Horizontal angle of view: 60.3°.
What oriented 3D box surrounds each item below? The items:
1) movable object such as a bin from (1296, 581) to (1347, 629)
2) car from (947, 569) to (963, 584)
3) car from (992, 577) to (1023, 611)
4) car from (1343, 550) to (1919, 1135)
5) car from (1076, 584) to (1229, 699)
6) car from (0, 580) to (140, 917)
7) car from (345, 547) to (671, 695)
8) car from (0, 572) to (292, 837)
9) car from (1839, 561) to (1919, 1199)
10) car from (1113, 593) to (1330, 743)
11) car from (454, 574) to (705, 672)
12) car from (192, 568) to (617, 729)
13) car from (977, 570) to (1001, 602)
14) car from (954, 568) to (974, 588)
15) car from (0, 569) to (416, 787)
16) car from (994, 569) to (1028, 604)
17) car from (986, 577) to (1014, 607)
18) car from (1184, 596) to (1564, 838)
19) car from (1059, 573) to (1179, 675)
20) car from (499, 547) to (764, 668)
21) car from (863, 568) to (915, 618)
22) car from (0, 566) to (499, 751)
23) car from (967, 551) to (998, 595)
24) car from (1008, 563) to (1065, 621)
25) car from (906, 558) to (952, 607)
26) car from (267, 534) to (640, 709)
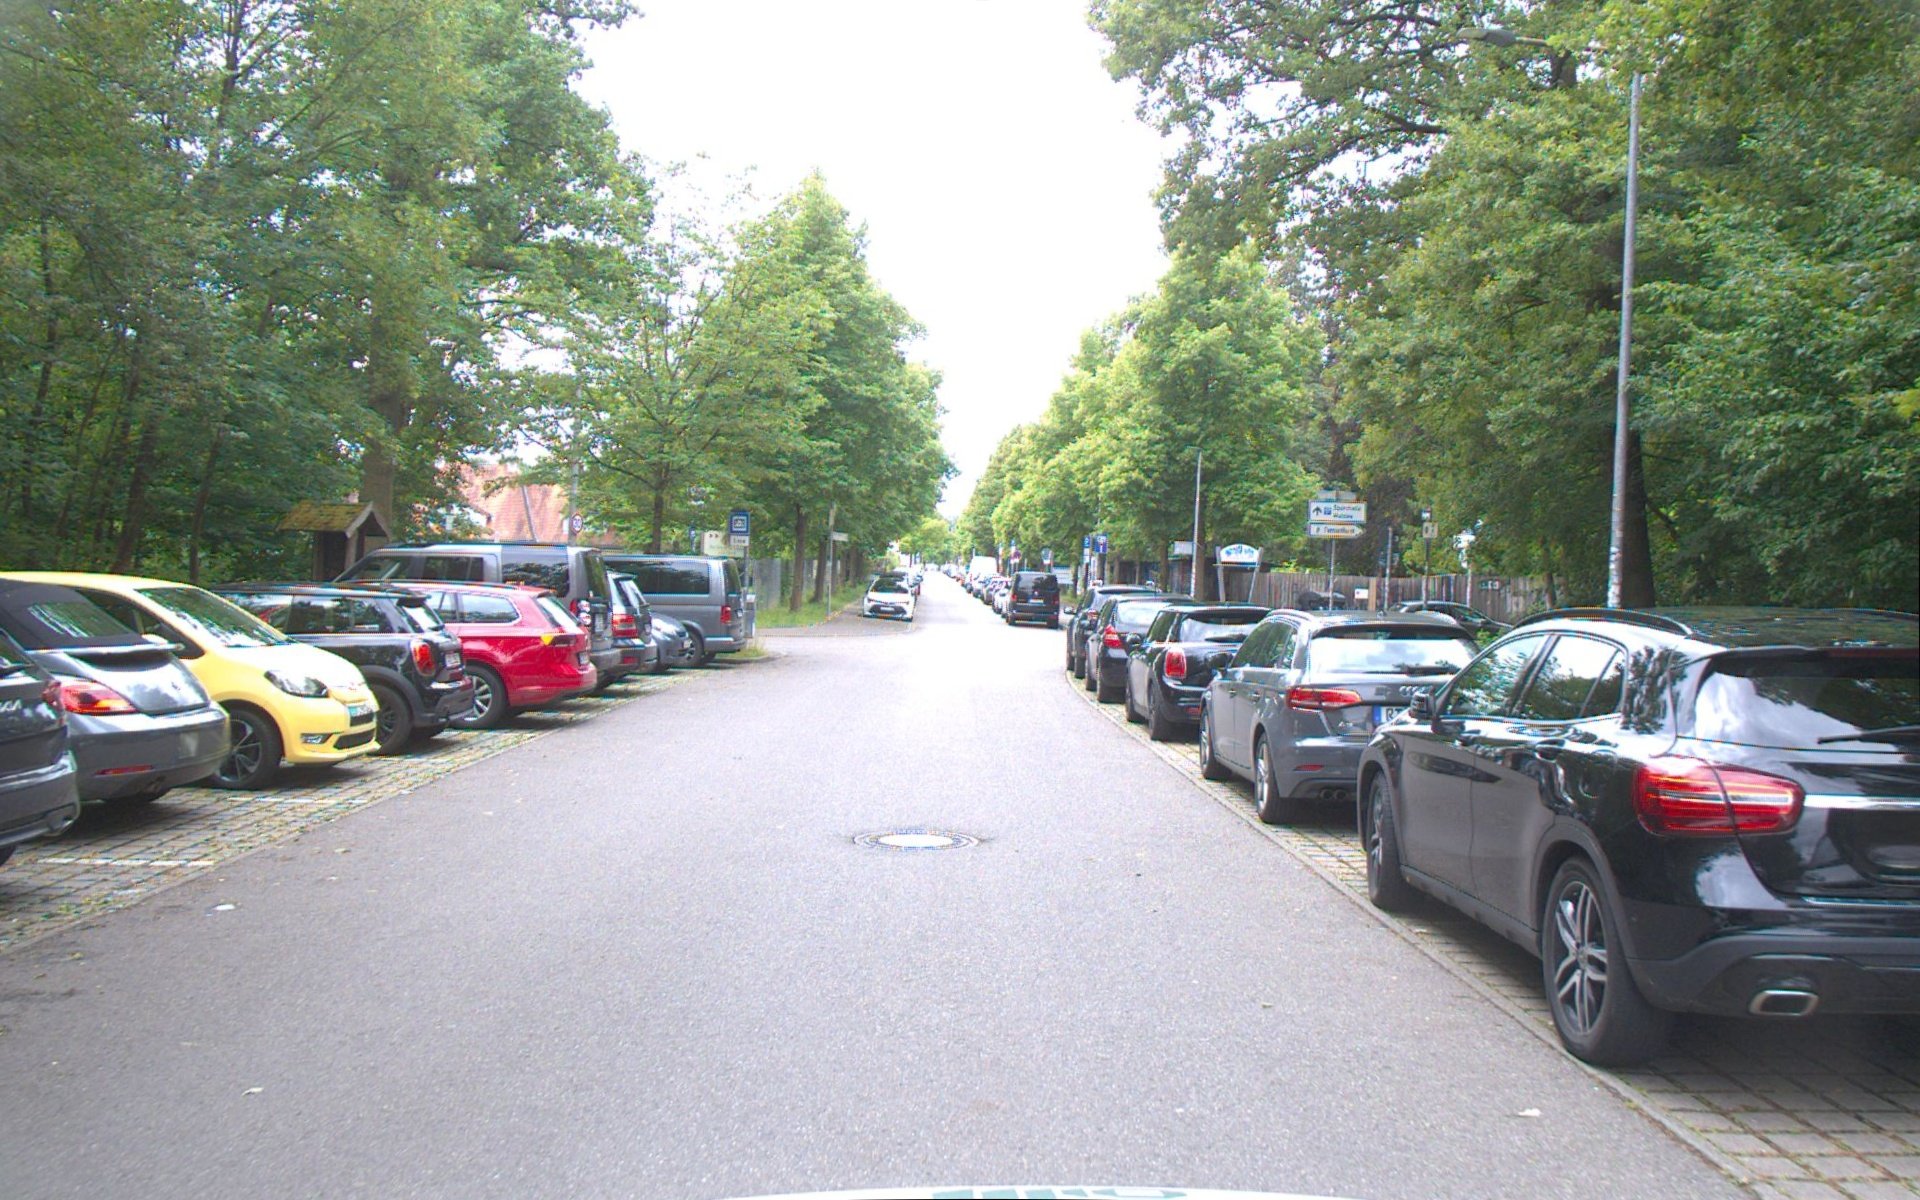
[{"bbox_3d":[11.458,0.152,52.382,1.276,1.468,1.061,2,-1,-45],"label":"movable object such as a bin"},{"bbox_3d":[-0.661,-3.022,213.113,1.859,1.736,4.065,1,0,3],"label":"car"},{"bbox_3d":[2.308,-0.312,80.828,1.439,1.558,3.189,1,1,0],"label":"car"},{"bbox_3d":[2.922,0.680,6.809,1.700,1.616,4.382,1,0,1],"label":"car"},{"bbox_3d":[2.747,0.548,24.409,1.701,1.521,4.233,1,0,-1],"label":"car"},{"bbox_3d":[-6.171,0.595,7.589,3.906,1.463,1.715,2,0,-1],"label":"car"},{"bbox_3d":[-6.047,0.269,22.502,3.907,1.796,1.823,2,0,-3],"label":"car"},{"bbox_3d":[-6.497,0.552,10.311,3.906,1.463,1.733,2,0,-1],"label":"car"},{"bbox_3d":[3.187,0.736,2.248,1.701,1.595,4.006,1,0,-3],"label":"car"},{"bbox_3d":[2.835,0.678,18.869,1.701,1.457,4.501,1,0,-1],"label":"car"},{"bbox_3d":[-6.322,0.362,27.743,3.735,1.539,1.810,1,1,1],"label":"car"},{"bbox_3d":[-5.807,0.491,17.670,3.907,1.501,1.779,2,0,-3],"label":"car"},{"bbox_3d":[1.836,-0.892,105.904,1.439,2.002,3.189,1,1,0],"label":"car"},{"bbox_3d":[0.419,-2.410,179.577,1.952,2.049,4.001,1,0,3],"label":"car"},{"bbox_3d":[-6.398,0.537,12.635,3.906,1.463,1.617,2,0,-1],"label":"car"},{"bbox_3d":[2.327,-0.620,75.772,1.439,1.507,3.189,1,1,0],"label":"car"},{"bbox_3d":[2.139,-0.461,89.989,1.439,1.558,3.189,1,1,0],"label":"car"},{"bbox_3d":[2.890,0.722,12.566,1.701,1.457,4.501,1,0,-1],"label":"car"},{"bbox_3d":[2.806,0.392,29.987,1.701,1.662,4.375,1,0,-1],"label":"car"},{"bbox_3d":[-5.869,0.135,29.969,4.412,2.013,1.890,1,-1,-2],"label":"car"},{"bbox_3d":[-2.573,-0.277,59.325,1.730,1.623,4.214,4,0,-3],"label":"car"},{"bbox_3d":[-6.387,0.502,15.023,3.908,1.463,1.670,2,0,-4],"label":"car"},{"bbox_3d":[1.631,-1.946,119.456,2.139,3.068,4.897,1,1,0],"label":"car"},{"bbox_3d":[2.831,-0.321,61.880,1.947,2.049,4.108,1,1,0],"label":"car"},{"bbox_3d":[-1.379,-0.791,73.604,1.953,2.049,3.999,2,0,-1],"label":"car"},{"bbox_3d":[-6.039,0.245,20.066,3.906,1.895,1.813,2,0,-1],"label":"car"}]
